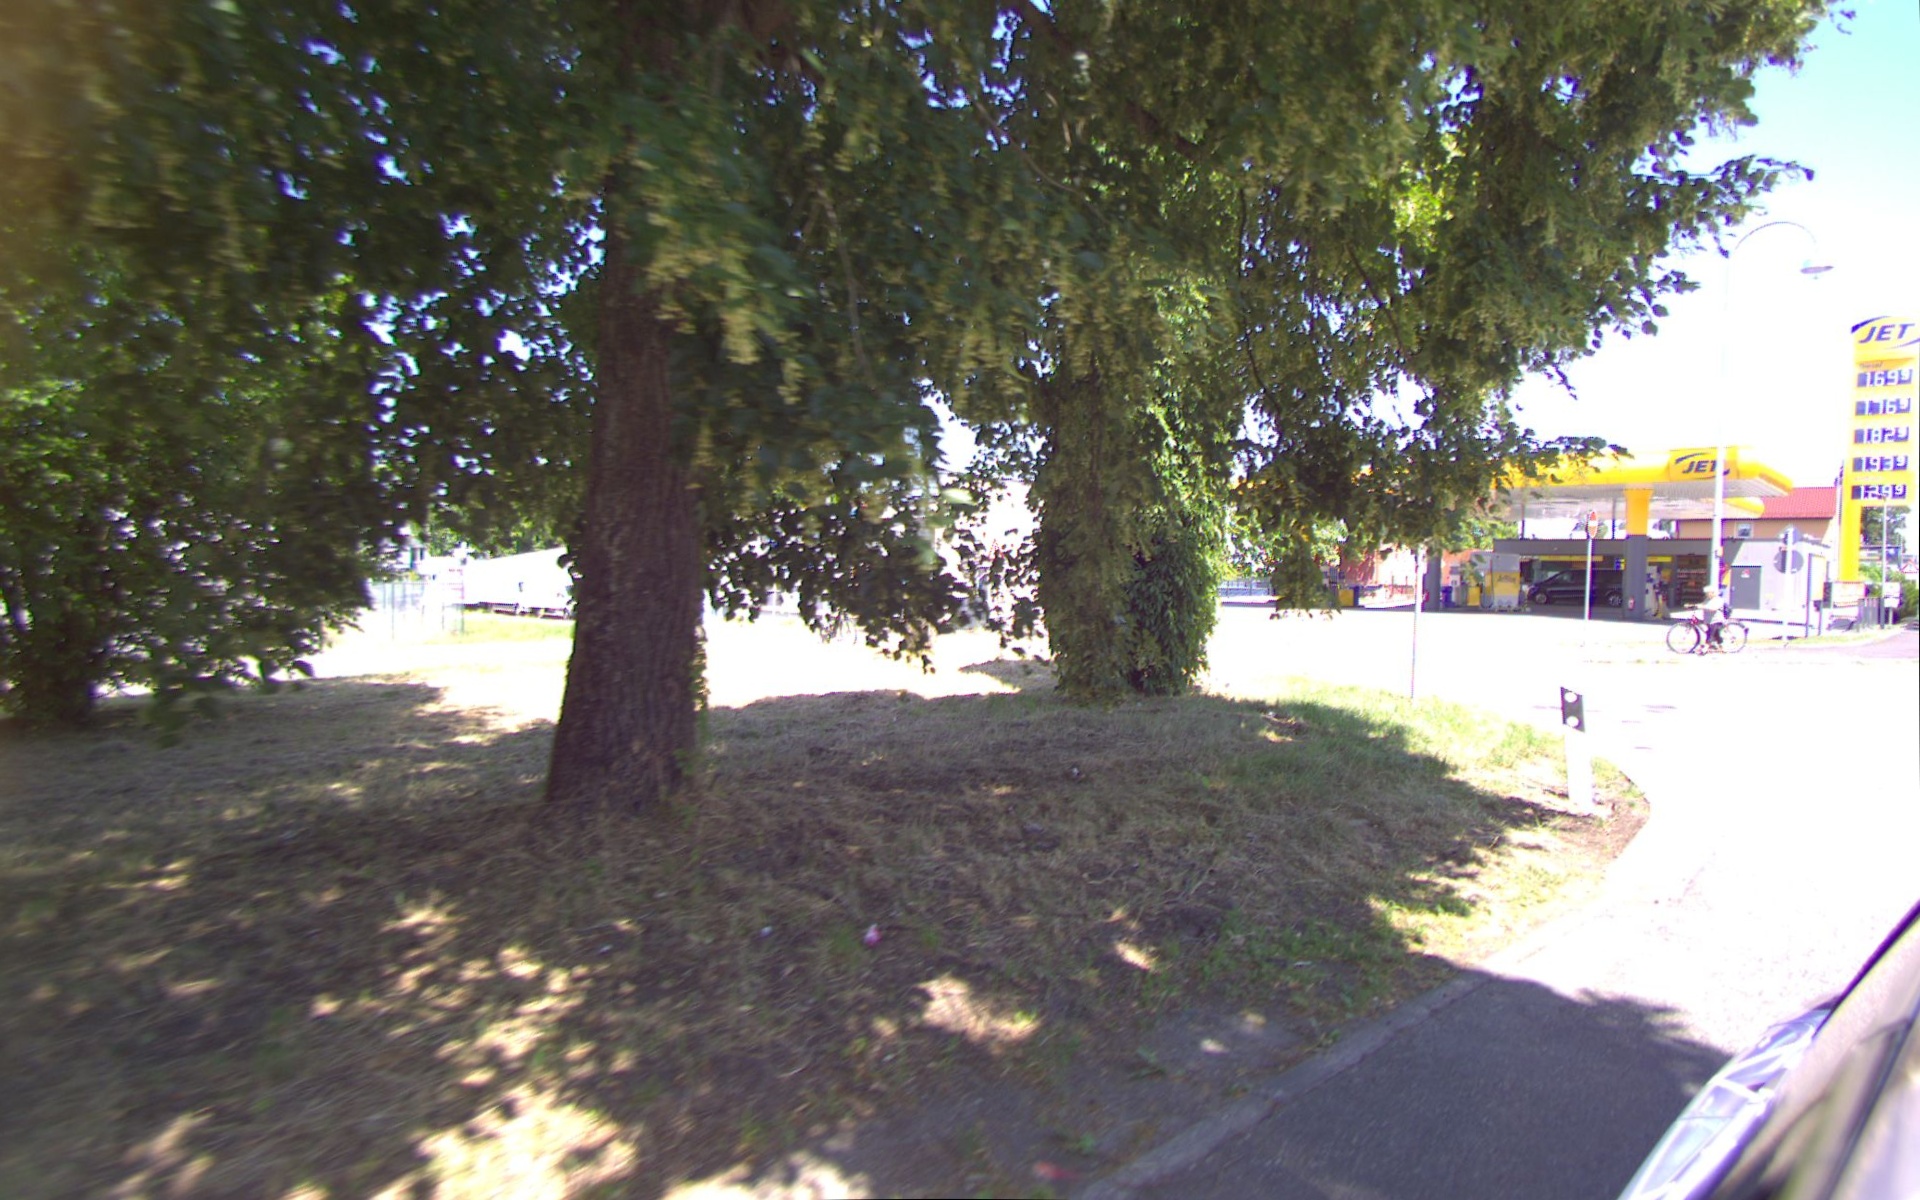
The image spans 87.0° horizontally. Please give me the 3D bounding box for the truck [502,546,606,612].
[{"bbox_3d":[-25.185,-1.354,62.495,2.526,3.766,9.455,0,2,-45],"label":"truck"}]

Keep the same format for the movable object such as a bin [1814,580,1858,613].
[{"bbox_3d":[41.990,-0.174,48.524,1.444,1.455,1.436,0,3,-45],"label":"movable object such as a bin"}]

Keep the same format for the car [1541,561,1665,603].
[{"bbox_3d":[33.009,-0.967,52.060,1.967,1.999,5.056,0,2,-43],"label":"car"}]

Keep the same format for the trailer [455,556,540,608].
[{"bbox_3d":[-31.669,-1.279,69.079,8.478,3.358,2.435,1,2,45],"label":"trailer"}]

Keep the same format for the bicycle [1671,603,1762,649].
[{"bbox_3d":[15.930,0.541,21.323,1.569,0.923,0.379,1,1,3],"label":"bicycle"}]

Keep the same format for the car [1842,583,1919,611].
[{"bbox_3d":[58.783,-0.193,64.164,4.226,1.553,1.927,4,3,44],"label":"car"}]

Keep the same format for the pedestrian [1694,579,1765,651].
[{"bbox_3d":[15.850,0.302,20.866,0.852,1.438,0.771,1,1,3],"label":"pedestrian"}]

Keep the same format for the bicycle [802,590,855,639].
[{"bbox_3d":[-3.191,0.338,24.423,0.459,1.111,1.697,-1,2,-39],"label":"bicycle"}]

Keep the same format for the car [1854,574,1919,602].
[{"bbox_3d":[67.967,-0.864,73.748,4.129,1.962,1.782,2,2,40],"label":"car"}]
